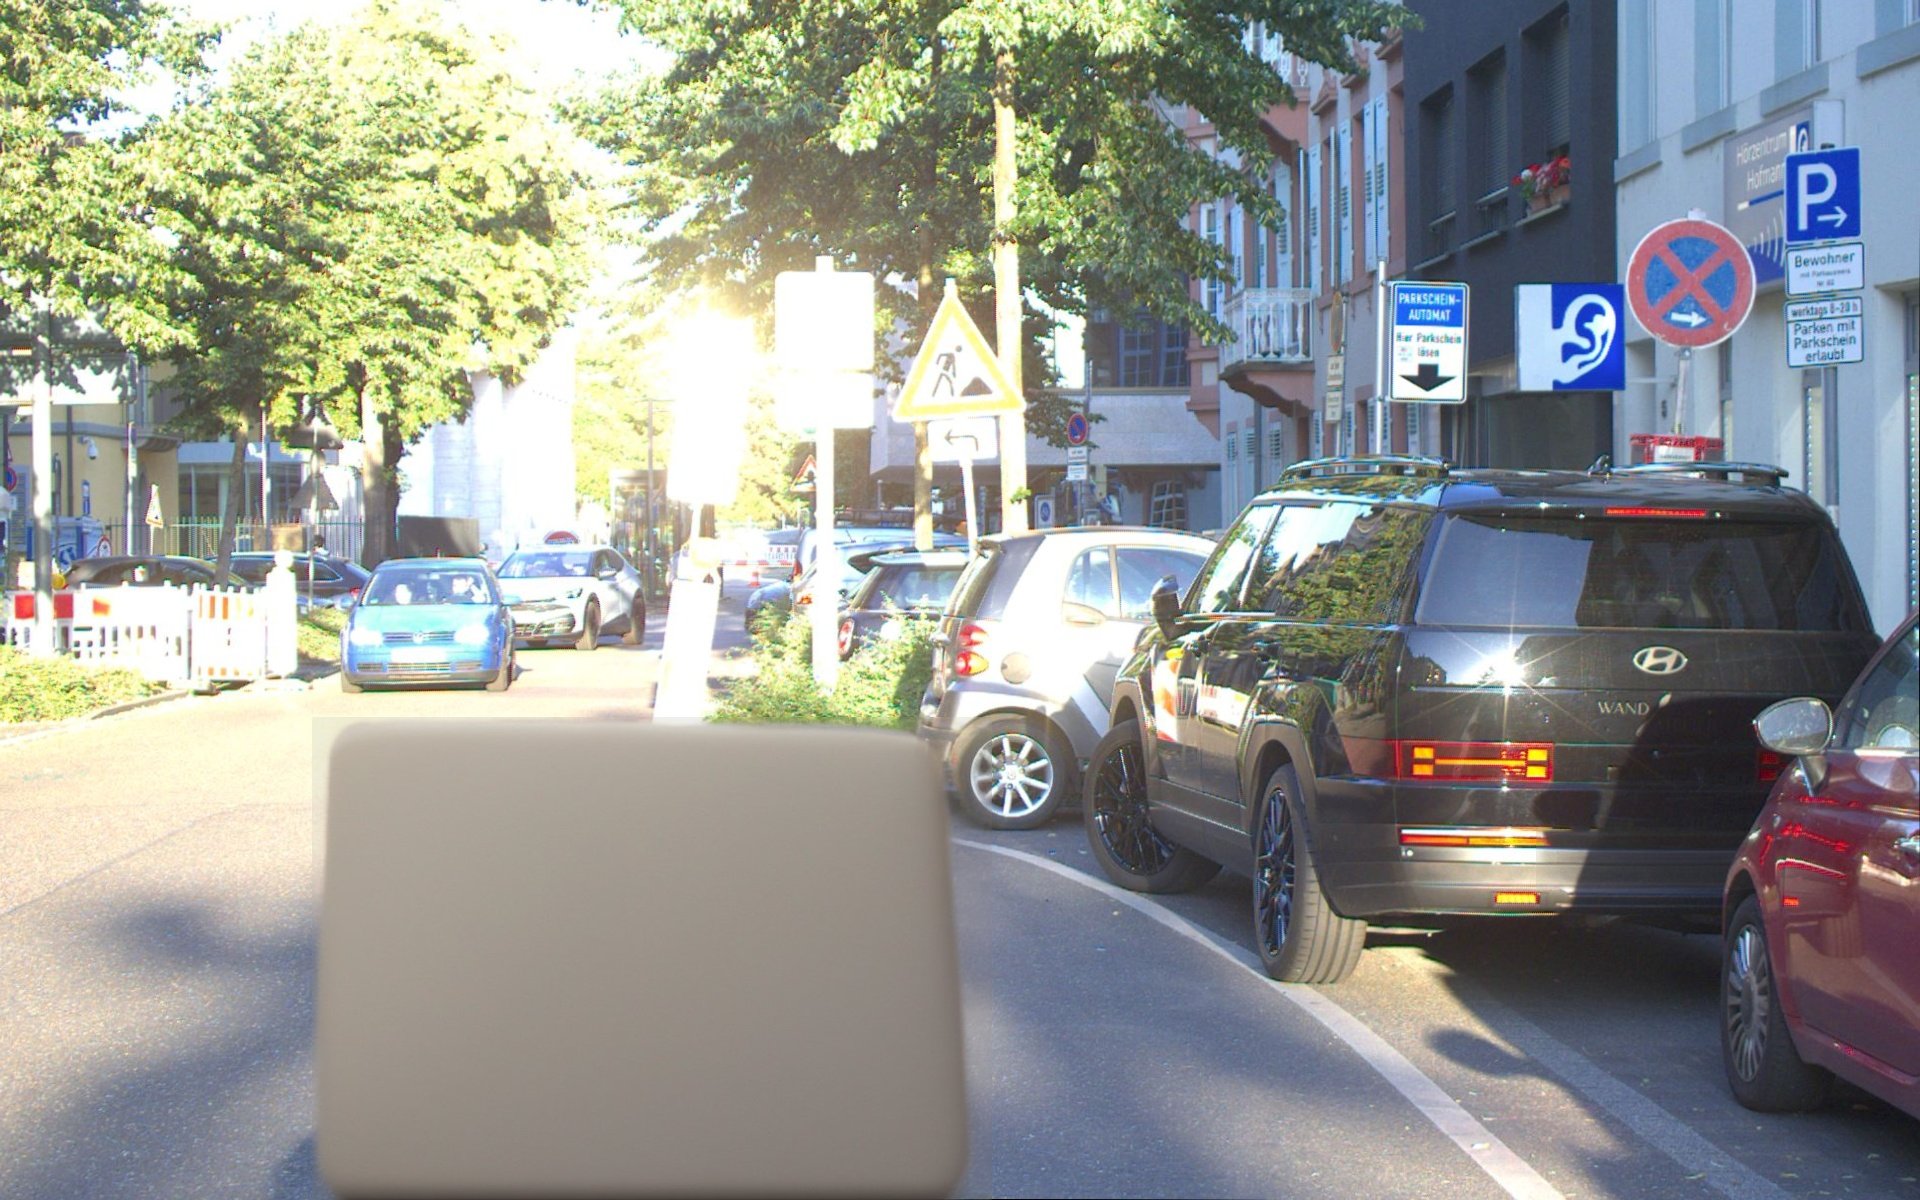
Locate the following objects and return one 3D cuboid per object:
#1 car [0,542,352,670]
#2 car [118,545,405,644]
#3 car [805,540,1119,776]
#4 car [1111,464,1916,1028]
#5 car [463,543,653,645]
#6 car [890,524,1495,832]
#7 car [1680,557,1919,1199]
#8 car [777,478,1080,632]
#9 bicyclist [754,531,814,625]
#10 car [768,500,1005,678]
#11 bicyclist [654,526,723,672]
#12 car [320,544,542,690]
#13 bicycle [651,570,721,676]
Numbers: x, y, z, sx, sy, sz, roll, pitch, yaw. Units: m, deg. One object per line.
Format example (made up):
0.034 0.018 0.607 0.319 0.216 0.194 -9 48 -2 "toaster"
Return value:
-9.611 0.061 41.782 4.102 1.460 1.889 1 1 -1 "car"
-10.900 -0.089 53.851 4.102 1.460 1.889 1 1 -1 "car"
-0.080 0.391 26.906 1.993 1.662 4.510 1 1 -6 "car"
1.780 0.423 12.585 1.824 1.689 4.370 1 1 -6 "car"
-6.153 -0.105 53.101 1.885 1.475 4.458 1 1 7 "car"
1.183 0.396 18.223 2.968 1.531 1.434 1 1 -6 "car"
2.815 0.654 7.853 1.587 1.478 3.266 1 1 -1 "car"
-0.388 -0.615 46.411 3.987 2.007 2.000 0 1 2 "car"
-3.227 -0.406 62.981 1.004 1.690 0.783 -1 1 -7 "bicyclist"
-0.932 -0.146 40.199 2.264 1.760 4.510 6 0 -6 "car"
-3.237 -0.019 40.921 0.780 1.690 1.007 -1 1 -5 "bicyclist"
-5.658 0.138 37.252 1.838 1.436 4.332 -1 1 -2 "car"
-3.273 0.258 40.982 0.780 1.200 2.021 -1 1 -5 "bicycle"
